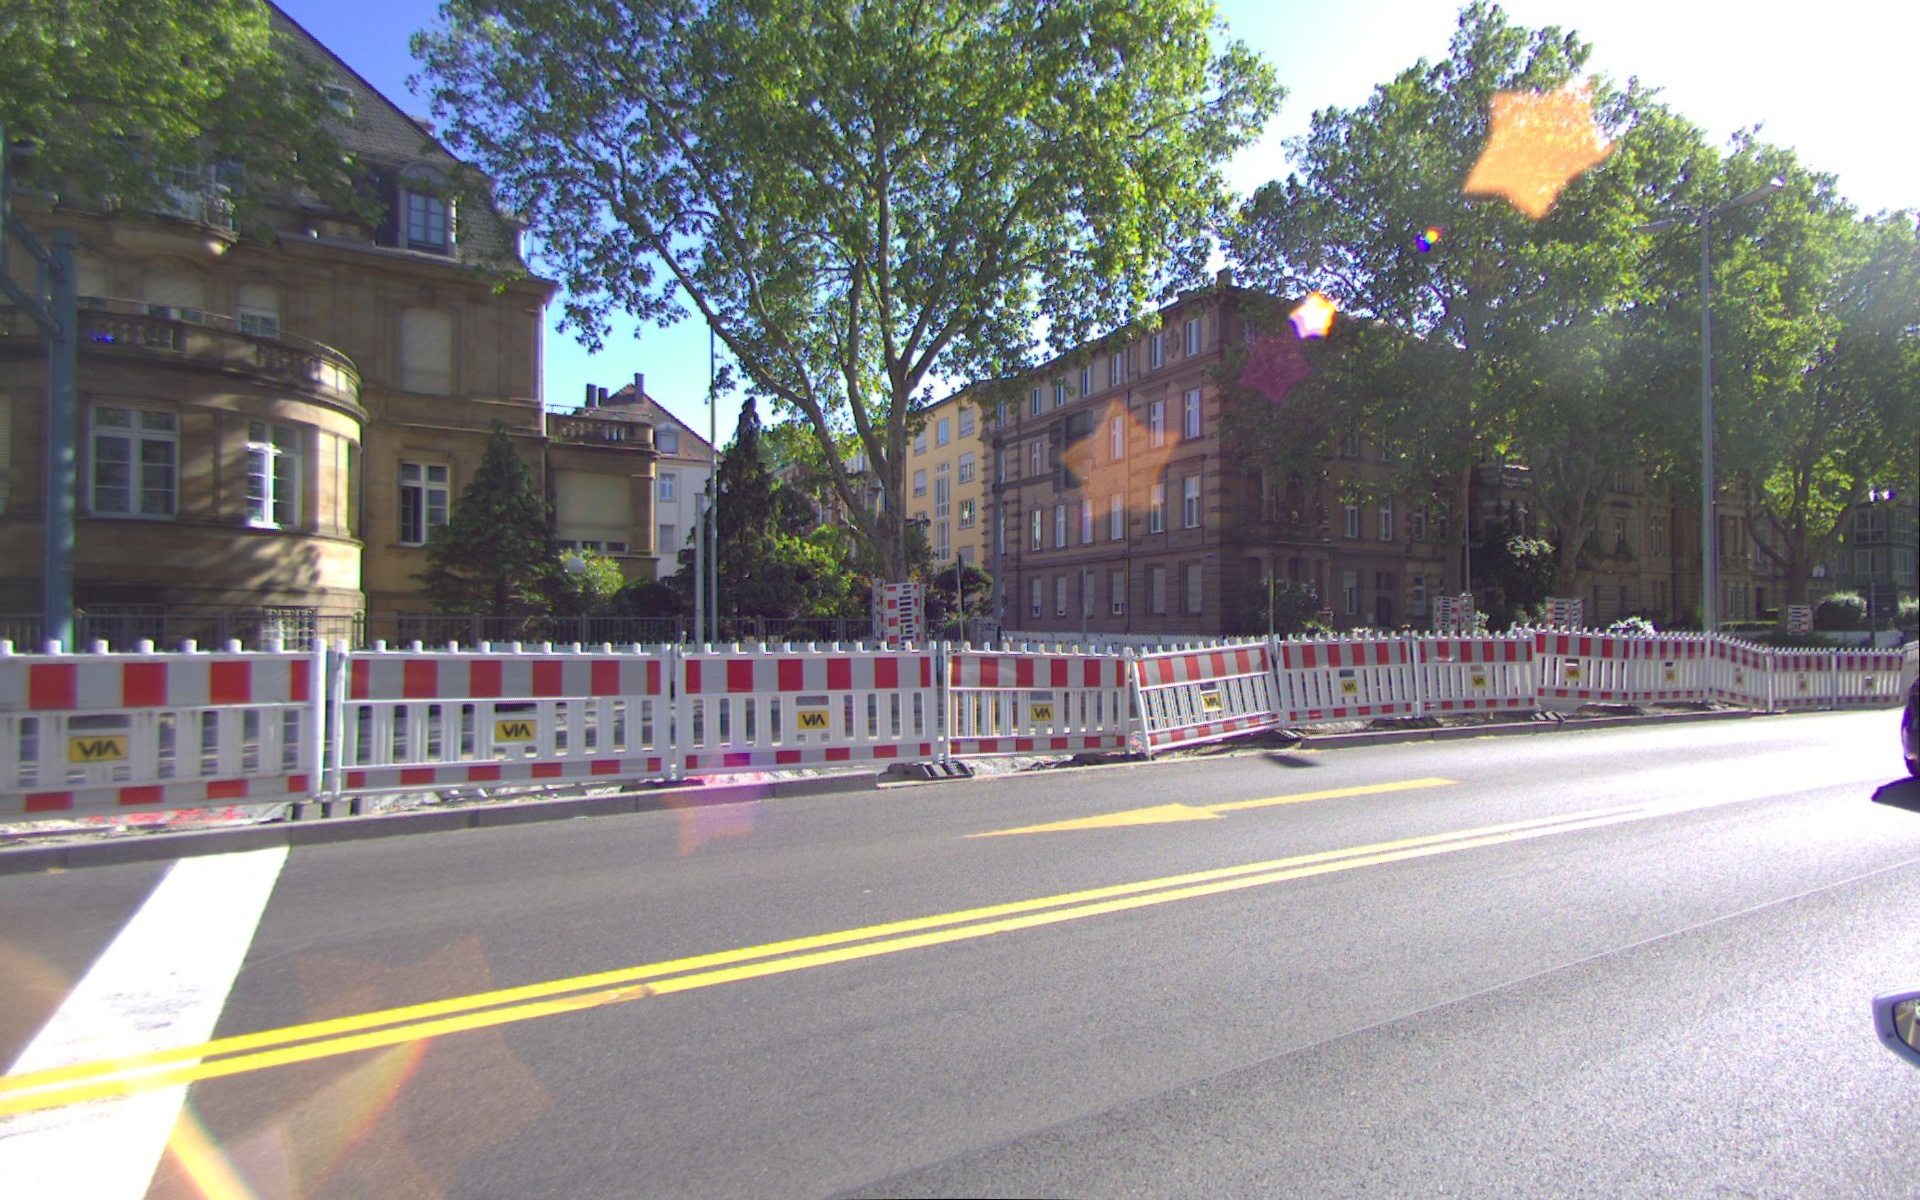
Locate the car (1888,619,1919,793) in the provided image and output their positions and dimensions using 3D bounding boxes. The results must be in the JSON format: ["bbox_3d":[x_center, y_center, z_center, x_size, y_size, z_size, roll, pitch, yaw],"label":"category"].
[{"bbox_3d":[10.555,0.947,9.213,4.424,1.502,1.829,1,-1,-31],"label":"car"}]

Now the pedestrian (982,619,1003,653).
[{"bbox_3d":[1.648,1.797,50.696,0.814,1.682,0.758,-1,-2,36],"label":"pedestrian"}]
